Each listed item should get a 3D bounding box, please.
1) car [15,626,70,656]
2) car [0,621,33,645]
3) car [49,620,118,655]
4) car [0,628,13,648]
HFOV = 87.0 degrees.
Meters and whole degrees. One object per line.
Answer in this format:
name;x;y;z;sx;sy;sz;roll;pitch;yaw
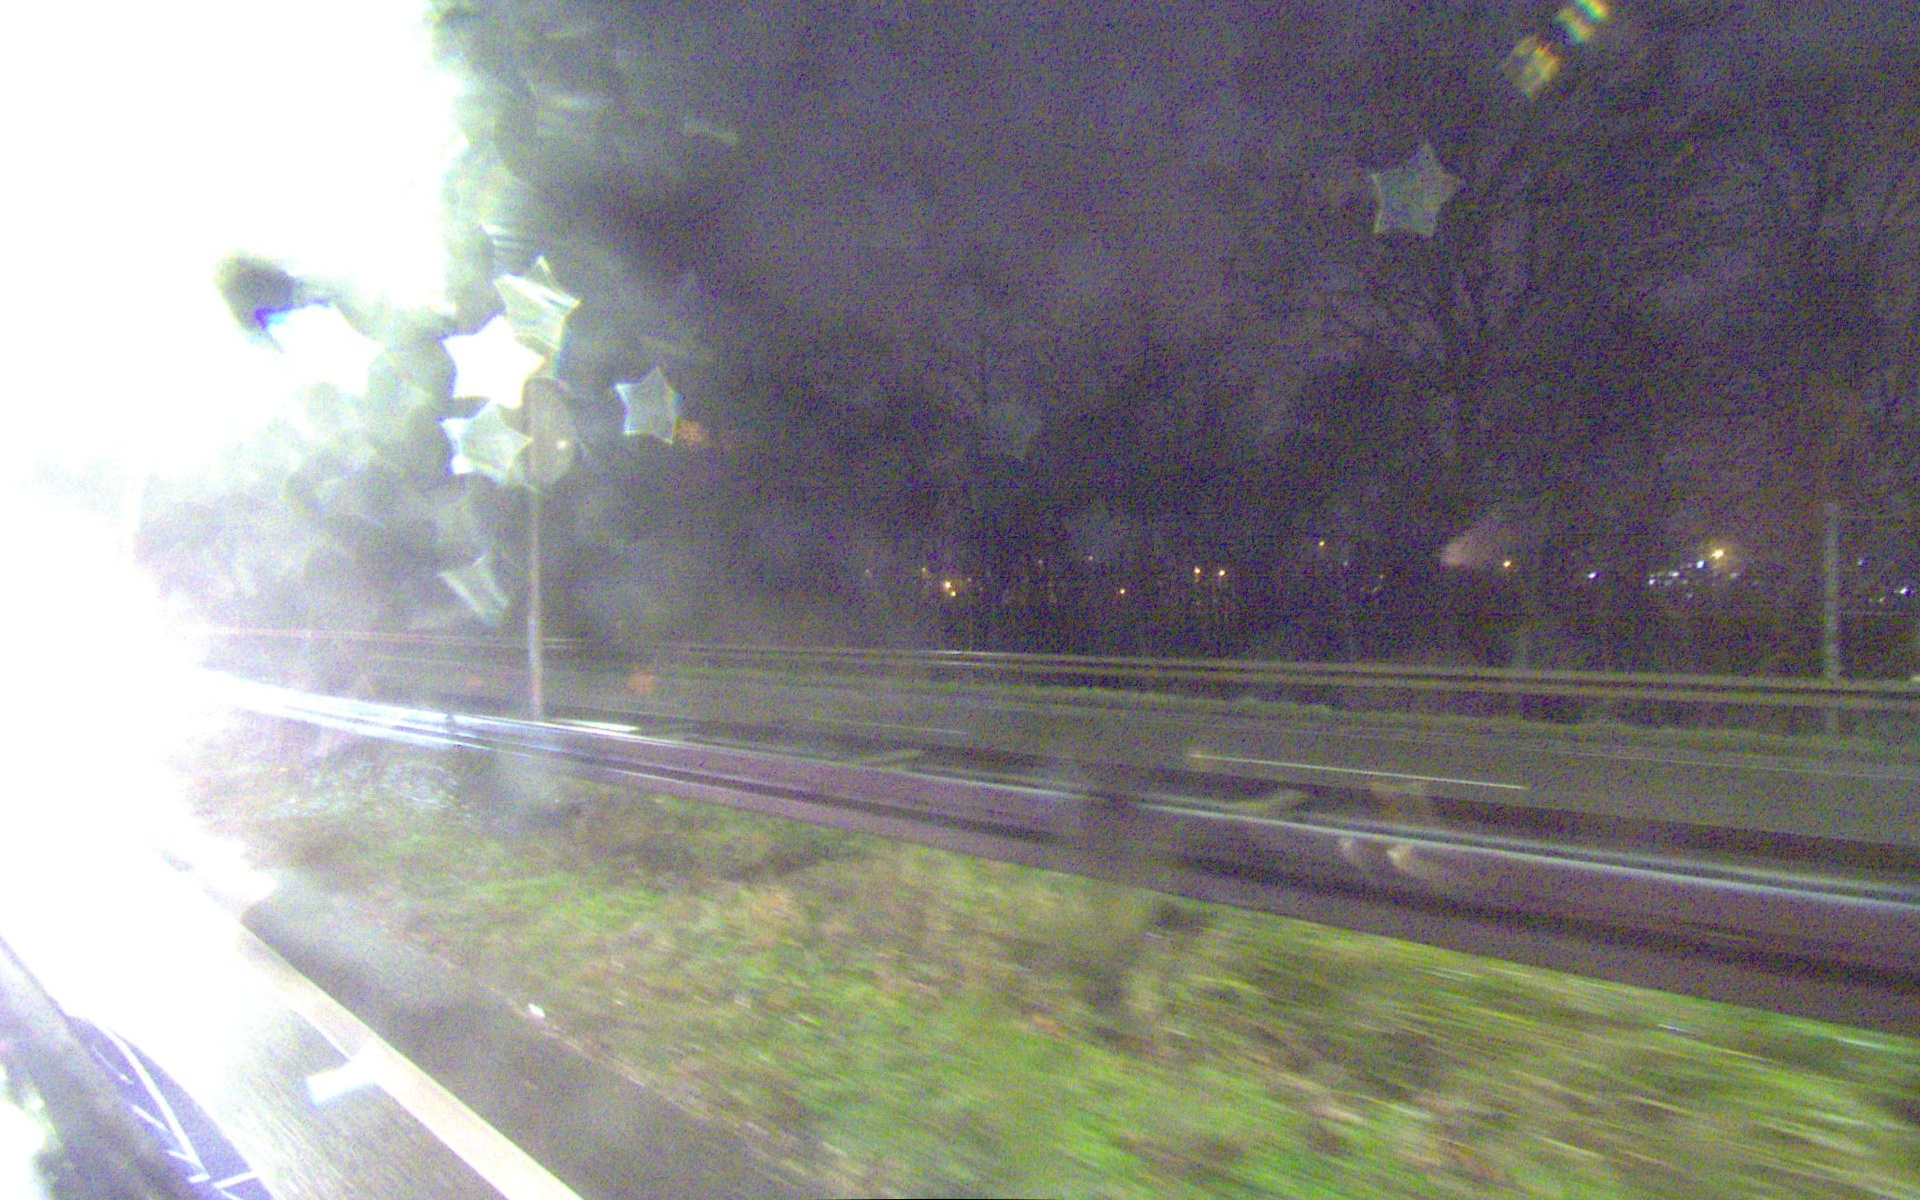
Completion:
car;-51.705;2.317;56.990;3.998;1.581;1.790;-2;-4;41
car;-64.778;2.249;69.275;4.161;1.554;1.550;-1;-3;43
car;-38.738;1.664;44.701;4.461;1.405;1.796;-2;-5;43
car;-82.071;3.229;86.327;4.001;1.663;1.602;-1;-1;44
